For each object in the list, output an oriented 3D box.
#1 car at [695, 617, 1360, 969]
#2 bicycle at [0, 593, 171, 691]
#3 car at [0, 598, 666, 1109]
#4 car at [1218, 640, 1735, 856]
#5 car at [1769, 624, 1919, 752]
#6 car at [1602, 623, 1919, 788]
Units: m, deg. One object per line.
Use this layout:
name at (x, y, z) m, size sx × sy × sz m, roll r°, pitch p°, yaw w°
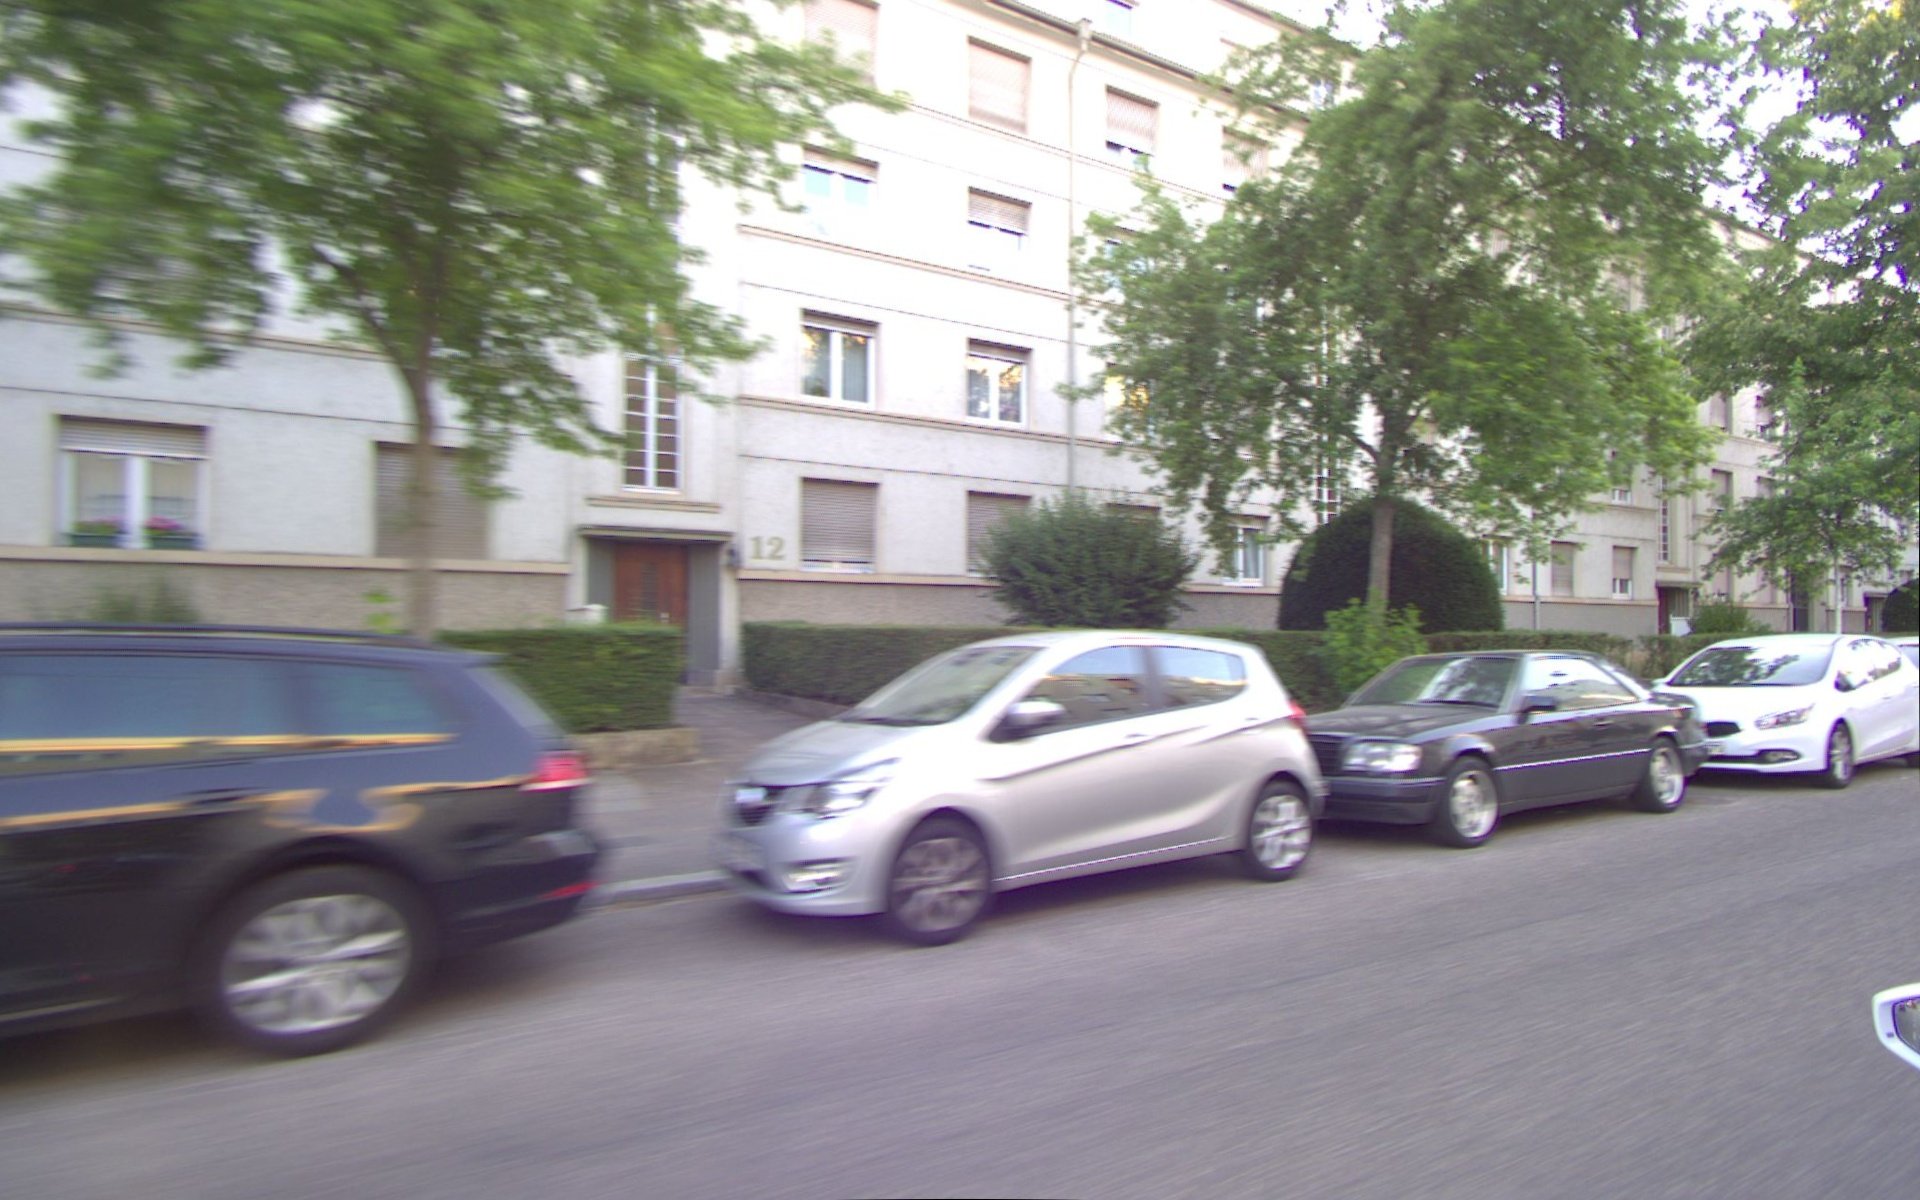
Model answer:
car at (0.485, 0.904, 5.966) m, size 3.665 × 1.478 × 1.666 m, roll 1°, pitch -5°, yaw -33°
bicycle at (-11.172, 0.528, 12.694) m, size 1.794 × 1.187 × 0.554 m, roll 1°, pitch -1°, yaw -28°
car at (-3.587, 0.800, 3.532) m, size 4.627 × 1.498 × 1.744 m, roll 1°, pitch -5°, yaw -32°
car at (4.397, 1.055, 8.338) m, size 4.528 × 1.349 × 1.666 m, roll 1°, pitch -5°, yaw -31°
car at (12.715, 1.098, 13.250) m, size 4.431 × 1.478 × 1.685 m, roll 1°, pitch -5°, yaw -31°
car at (8.892, 1.040, 10.837) m, size 4.099 × 1.478 × 1.684 m, roll 1°, pitch -5°, yaw -32°
